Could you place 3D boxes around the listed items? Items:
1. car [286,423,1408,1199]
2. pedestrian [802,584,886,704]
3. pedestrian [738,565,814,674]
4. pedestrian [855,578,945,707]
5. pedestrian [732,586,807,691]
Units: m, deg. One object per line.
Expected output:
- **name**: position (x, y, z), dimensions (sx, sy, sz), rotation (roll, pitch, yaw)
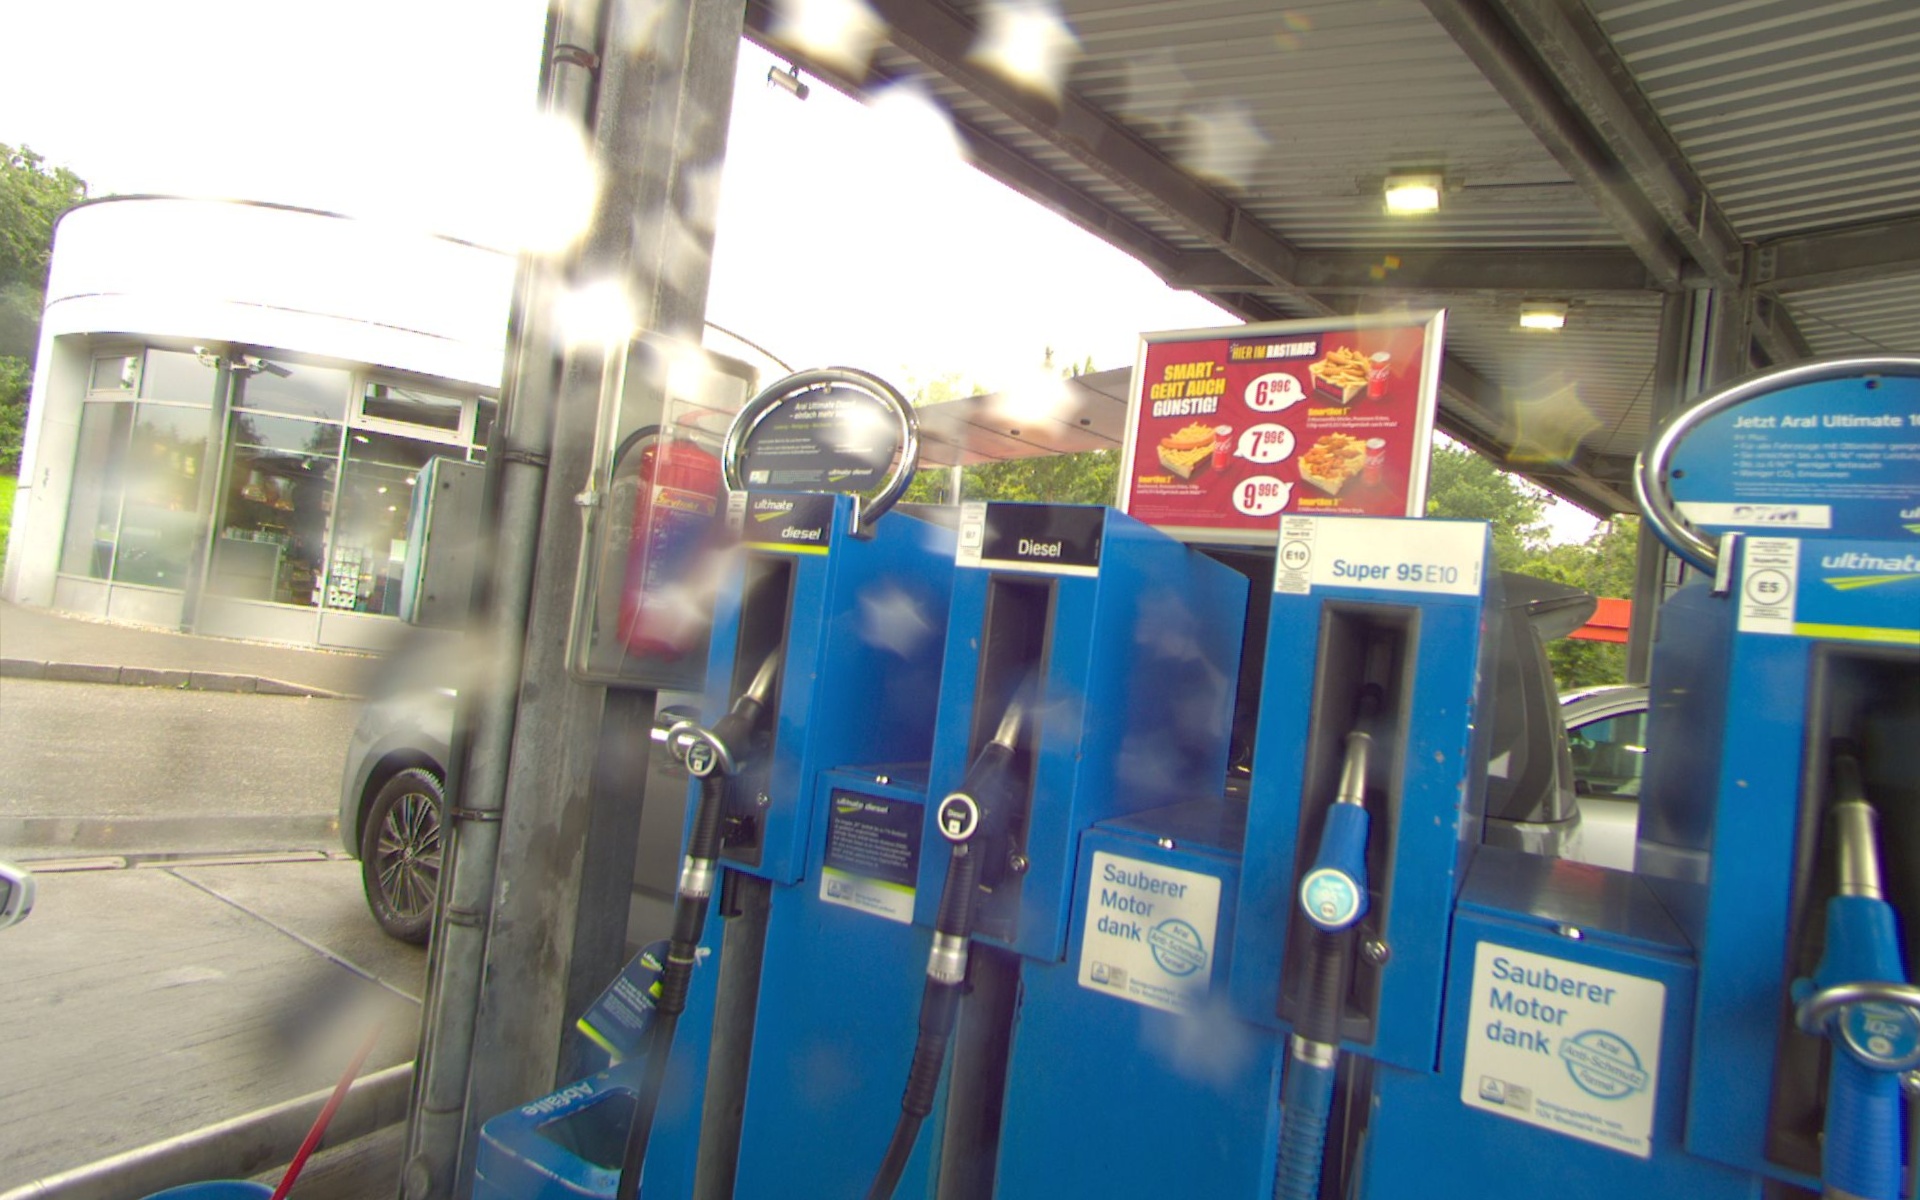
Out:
- **car**: position (-0.589, 0.519, 3.978), dimensions (3.934, 1.971, 1.819), rotation (7, -1, 32)
- **pedestrian**: position (-1.947, 0.728, 16.843), dimensions (0.965, 1.871, 0.767), rotation (7, 0, -30)
- **pedestrian**: position (-3.413, 0.358, 18.659), dimensions (0.990, 1.887, 0.793), rotation (7, 0, -30)
- **pedestrian**: position (-0.962, 0.686, 16.123), dimensions (0.991, 1.917, 0.716), rotation (7, 0, 34)
- **pedestrian**: position (-3.091, 0.618, 16.297), dimensions (0.882, 1.569, 0.655), rotation (7, 0, -29)
